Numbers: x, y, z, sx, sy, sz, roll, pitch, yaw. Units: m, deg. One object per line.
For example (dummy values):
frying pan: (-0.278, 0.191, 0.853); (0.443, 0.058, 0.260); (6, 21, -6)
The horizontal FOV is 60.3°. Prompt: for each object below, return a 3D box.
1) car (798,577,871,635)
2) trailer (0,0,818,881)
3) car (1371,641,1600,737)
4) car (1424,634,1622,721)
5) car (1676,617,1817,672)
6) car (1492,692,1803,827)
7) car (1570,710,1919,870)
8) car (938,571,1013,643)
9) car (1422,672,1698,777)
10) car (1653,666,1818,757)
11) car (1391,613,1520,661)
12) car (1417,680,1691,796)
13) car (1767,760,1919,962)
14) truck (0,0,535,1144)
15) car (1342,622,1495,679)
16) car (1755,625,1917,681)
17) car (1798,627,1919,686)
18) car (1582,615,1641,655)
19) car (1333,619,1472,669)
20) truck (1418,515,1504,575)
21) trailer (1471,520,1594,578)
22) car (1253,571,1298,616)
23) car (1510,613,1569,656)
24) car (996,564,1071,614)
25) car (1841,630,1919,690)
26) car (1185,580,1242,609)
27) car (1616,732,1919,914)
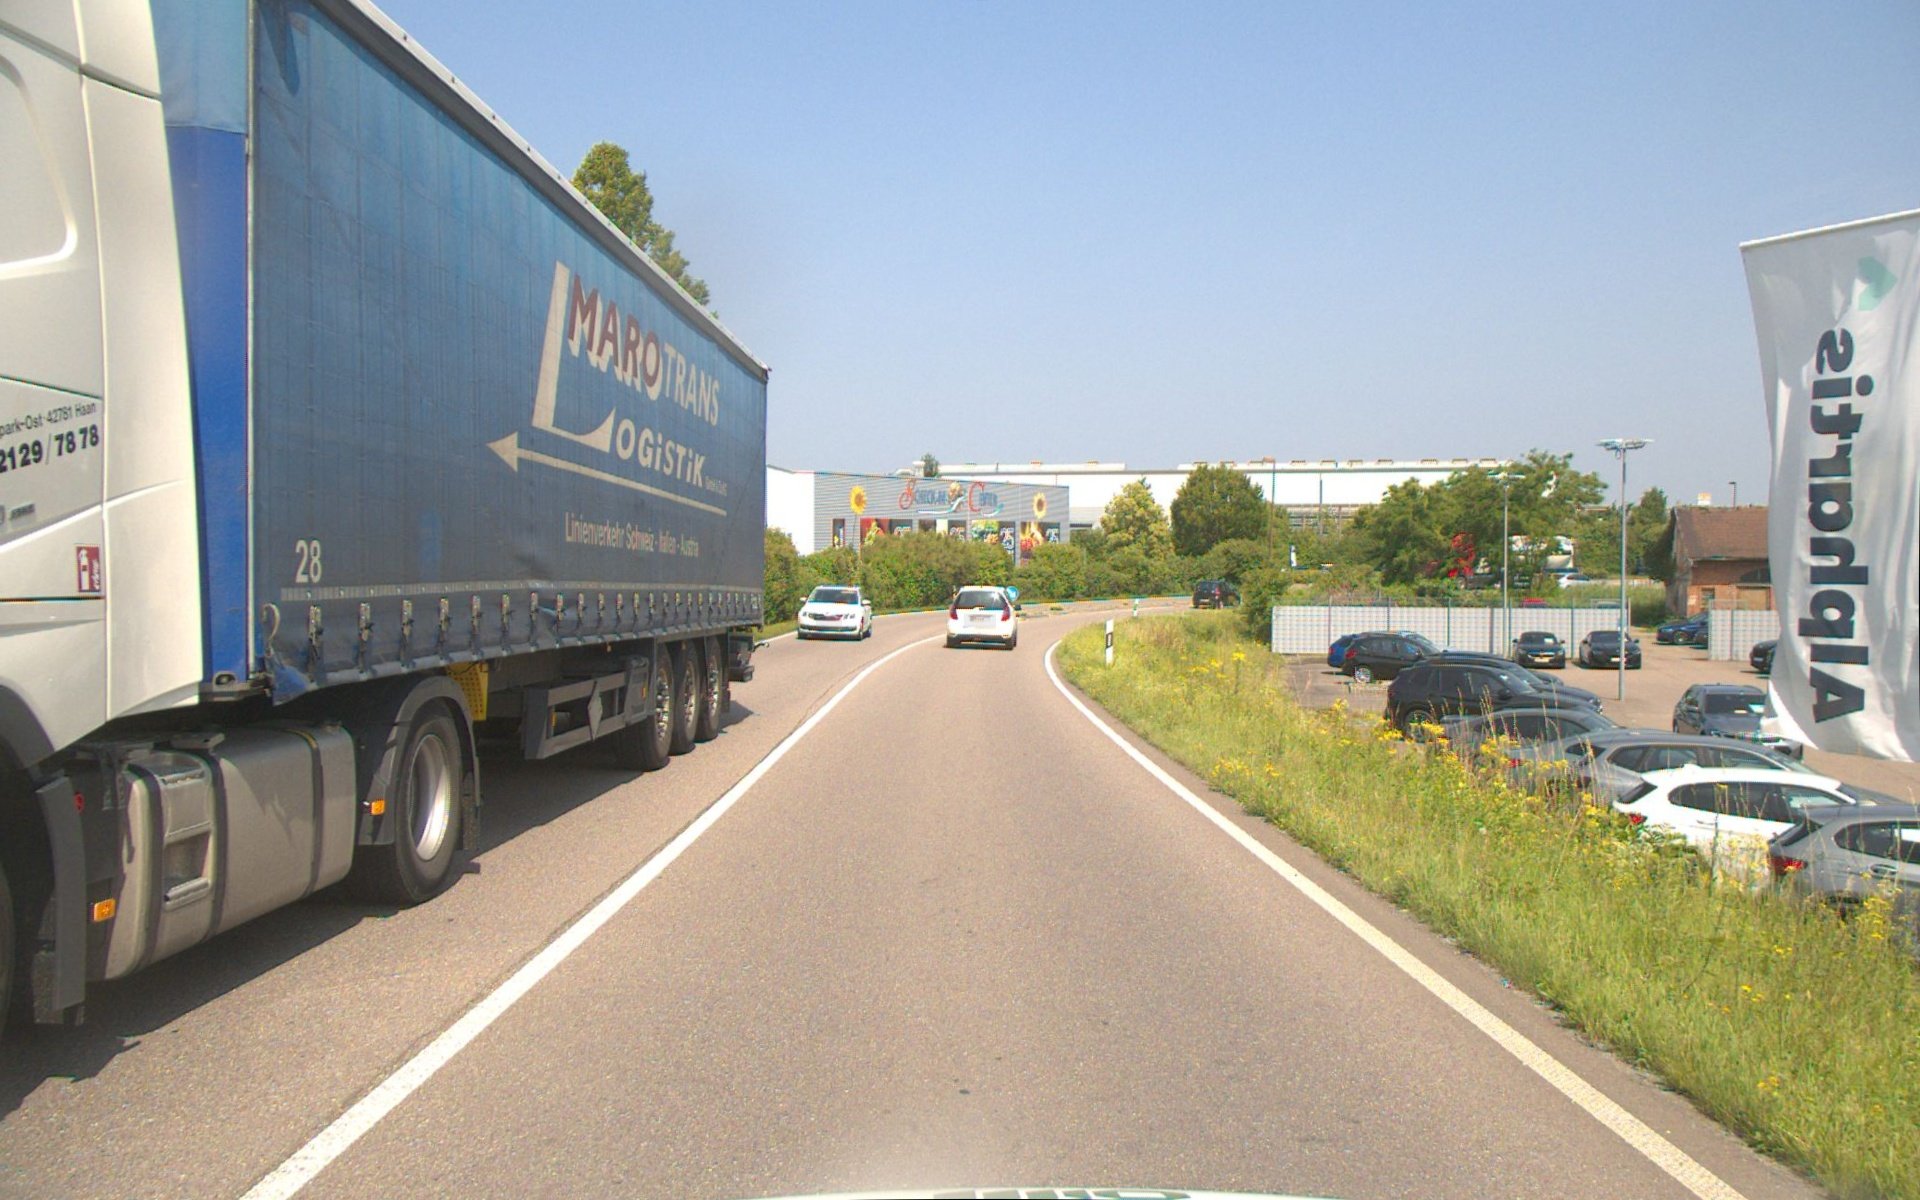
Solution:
car: (-3.469, 0.142, 46.381); (1.792, 1.496, 4.409); (1, 1, -2)
trailer: (-3.415, -0.898, 15.304); (2.615, 4.315, 14.568); (1, 1, 1)
car: (11.652, 1.927, 36.779); (4.546, 1.730, 1.852); (2, 3, 33)
car: (13.527, 1.819, 39.849); (4.152, 1.730, 1.912); (2, 3, 36)
car: (28.266, 1.594, 59.484); (4.248, 1.835, 1.994); (0, 2, -12)
car: (10.142, 2.287, 24.435); (4.079, 1.549, 1.854); (1, 1, 28)
car: (10.006, 2.334, 20.948); (4.078, 1.549, 1.854); (1, 0, 27)
car: (0.369, 0.150, 43.628); (1.745, 1.630, 3.893); (4, 1, -1)
car: (11.087, 2.244, 30.669); (4.543, 1.549, 1.852); (2, 1, 31)
car: (15.797, 2.222, 33.941); (2.090, 1.482, 4.536); (1, 1, 12)
car: (18.570, 1.363, 62.063); (4.297, 1.529, 1.831); (2, 3, 43)
car: (9.952, 2.249, 27.738); (4.079, 1.549, 1.854); (1, 1, 28)
car: (9.594, 2.432, 14.820); (4.084, 1.549, 1.686); (2, 1, 33)
truck: (-3.610, -0.810, 5.910); (2.461, 4.332, 6.114); (0, 0, 1)
car: (14.995, 1.607, 54.093); (4.539, 1.633, 1.854); (1, 1, 28)
car: (27.289, 1.632, 51.576); (4.248, 1.603, 1.906); (0, 2, -12)
car: (27.515, 1.652, 49.326); (4.248, 1.603, 1.906); (0, 2, -12)
car: (25.511, 1.337, 64.686); (1.954, 1.422, 3.998); (1, 1, 24)
car: (16.038, 1.563, 60.015); (4.543, 1.524, 1.853); (2, 3, 31)
truck: (36.496, -3.933, 120.410); (6.660, 4.100, 2.849); (1, 0, -41)
trailer: (42.722, -3.774, 123.460); (8.528, 4.100, 2.876); (1, 0, -17)
car: (14.980, -0.300, 78.369); (1.951, 2.049, 4.003); (1, 0, 13)
car: (22.804, 1.322, 64.995); (1.813, 1.561, 4.641); (1, 1, 24)
car: (3.173, -0.478, 70.961); (1.953, 2.049, 3.999); (1, 0, 22)
car: (27.533, 1.675, 46.913); (4.248, 1.549, 1.906); (0, 2, -12)
car: (13.938, -0.306, 90.831); (1.793, 1.496, 4.405); (1, 1, 26)
car: (9.434, 2.397, 18.014); (4.079, 1.549, 1.749); (1, 0, 28)
